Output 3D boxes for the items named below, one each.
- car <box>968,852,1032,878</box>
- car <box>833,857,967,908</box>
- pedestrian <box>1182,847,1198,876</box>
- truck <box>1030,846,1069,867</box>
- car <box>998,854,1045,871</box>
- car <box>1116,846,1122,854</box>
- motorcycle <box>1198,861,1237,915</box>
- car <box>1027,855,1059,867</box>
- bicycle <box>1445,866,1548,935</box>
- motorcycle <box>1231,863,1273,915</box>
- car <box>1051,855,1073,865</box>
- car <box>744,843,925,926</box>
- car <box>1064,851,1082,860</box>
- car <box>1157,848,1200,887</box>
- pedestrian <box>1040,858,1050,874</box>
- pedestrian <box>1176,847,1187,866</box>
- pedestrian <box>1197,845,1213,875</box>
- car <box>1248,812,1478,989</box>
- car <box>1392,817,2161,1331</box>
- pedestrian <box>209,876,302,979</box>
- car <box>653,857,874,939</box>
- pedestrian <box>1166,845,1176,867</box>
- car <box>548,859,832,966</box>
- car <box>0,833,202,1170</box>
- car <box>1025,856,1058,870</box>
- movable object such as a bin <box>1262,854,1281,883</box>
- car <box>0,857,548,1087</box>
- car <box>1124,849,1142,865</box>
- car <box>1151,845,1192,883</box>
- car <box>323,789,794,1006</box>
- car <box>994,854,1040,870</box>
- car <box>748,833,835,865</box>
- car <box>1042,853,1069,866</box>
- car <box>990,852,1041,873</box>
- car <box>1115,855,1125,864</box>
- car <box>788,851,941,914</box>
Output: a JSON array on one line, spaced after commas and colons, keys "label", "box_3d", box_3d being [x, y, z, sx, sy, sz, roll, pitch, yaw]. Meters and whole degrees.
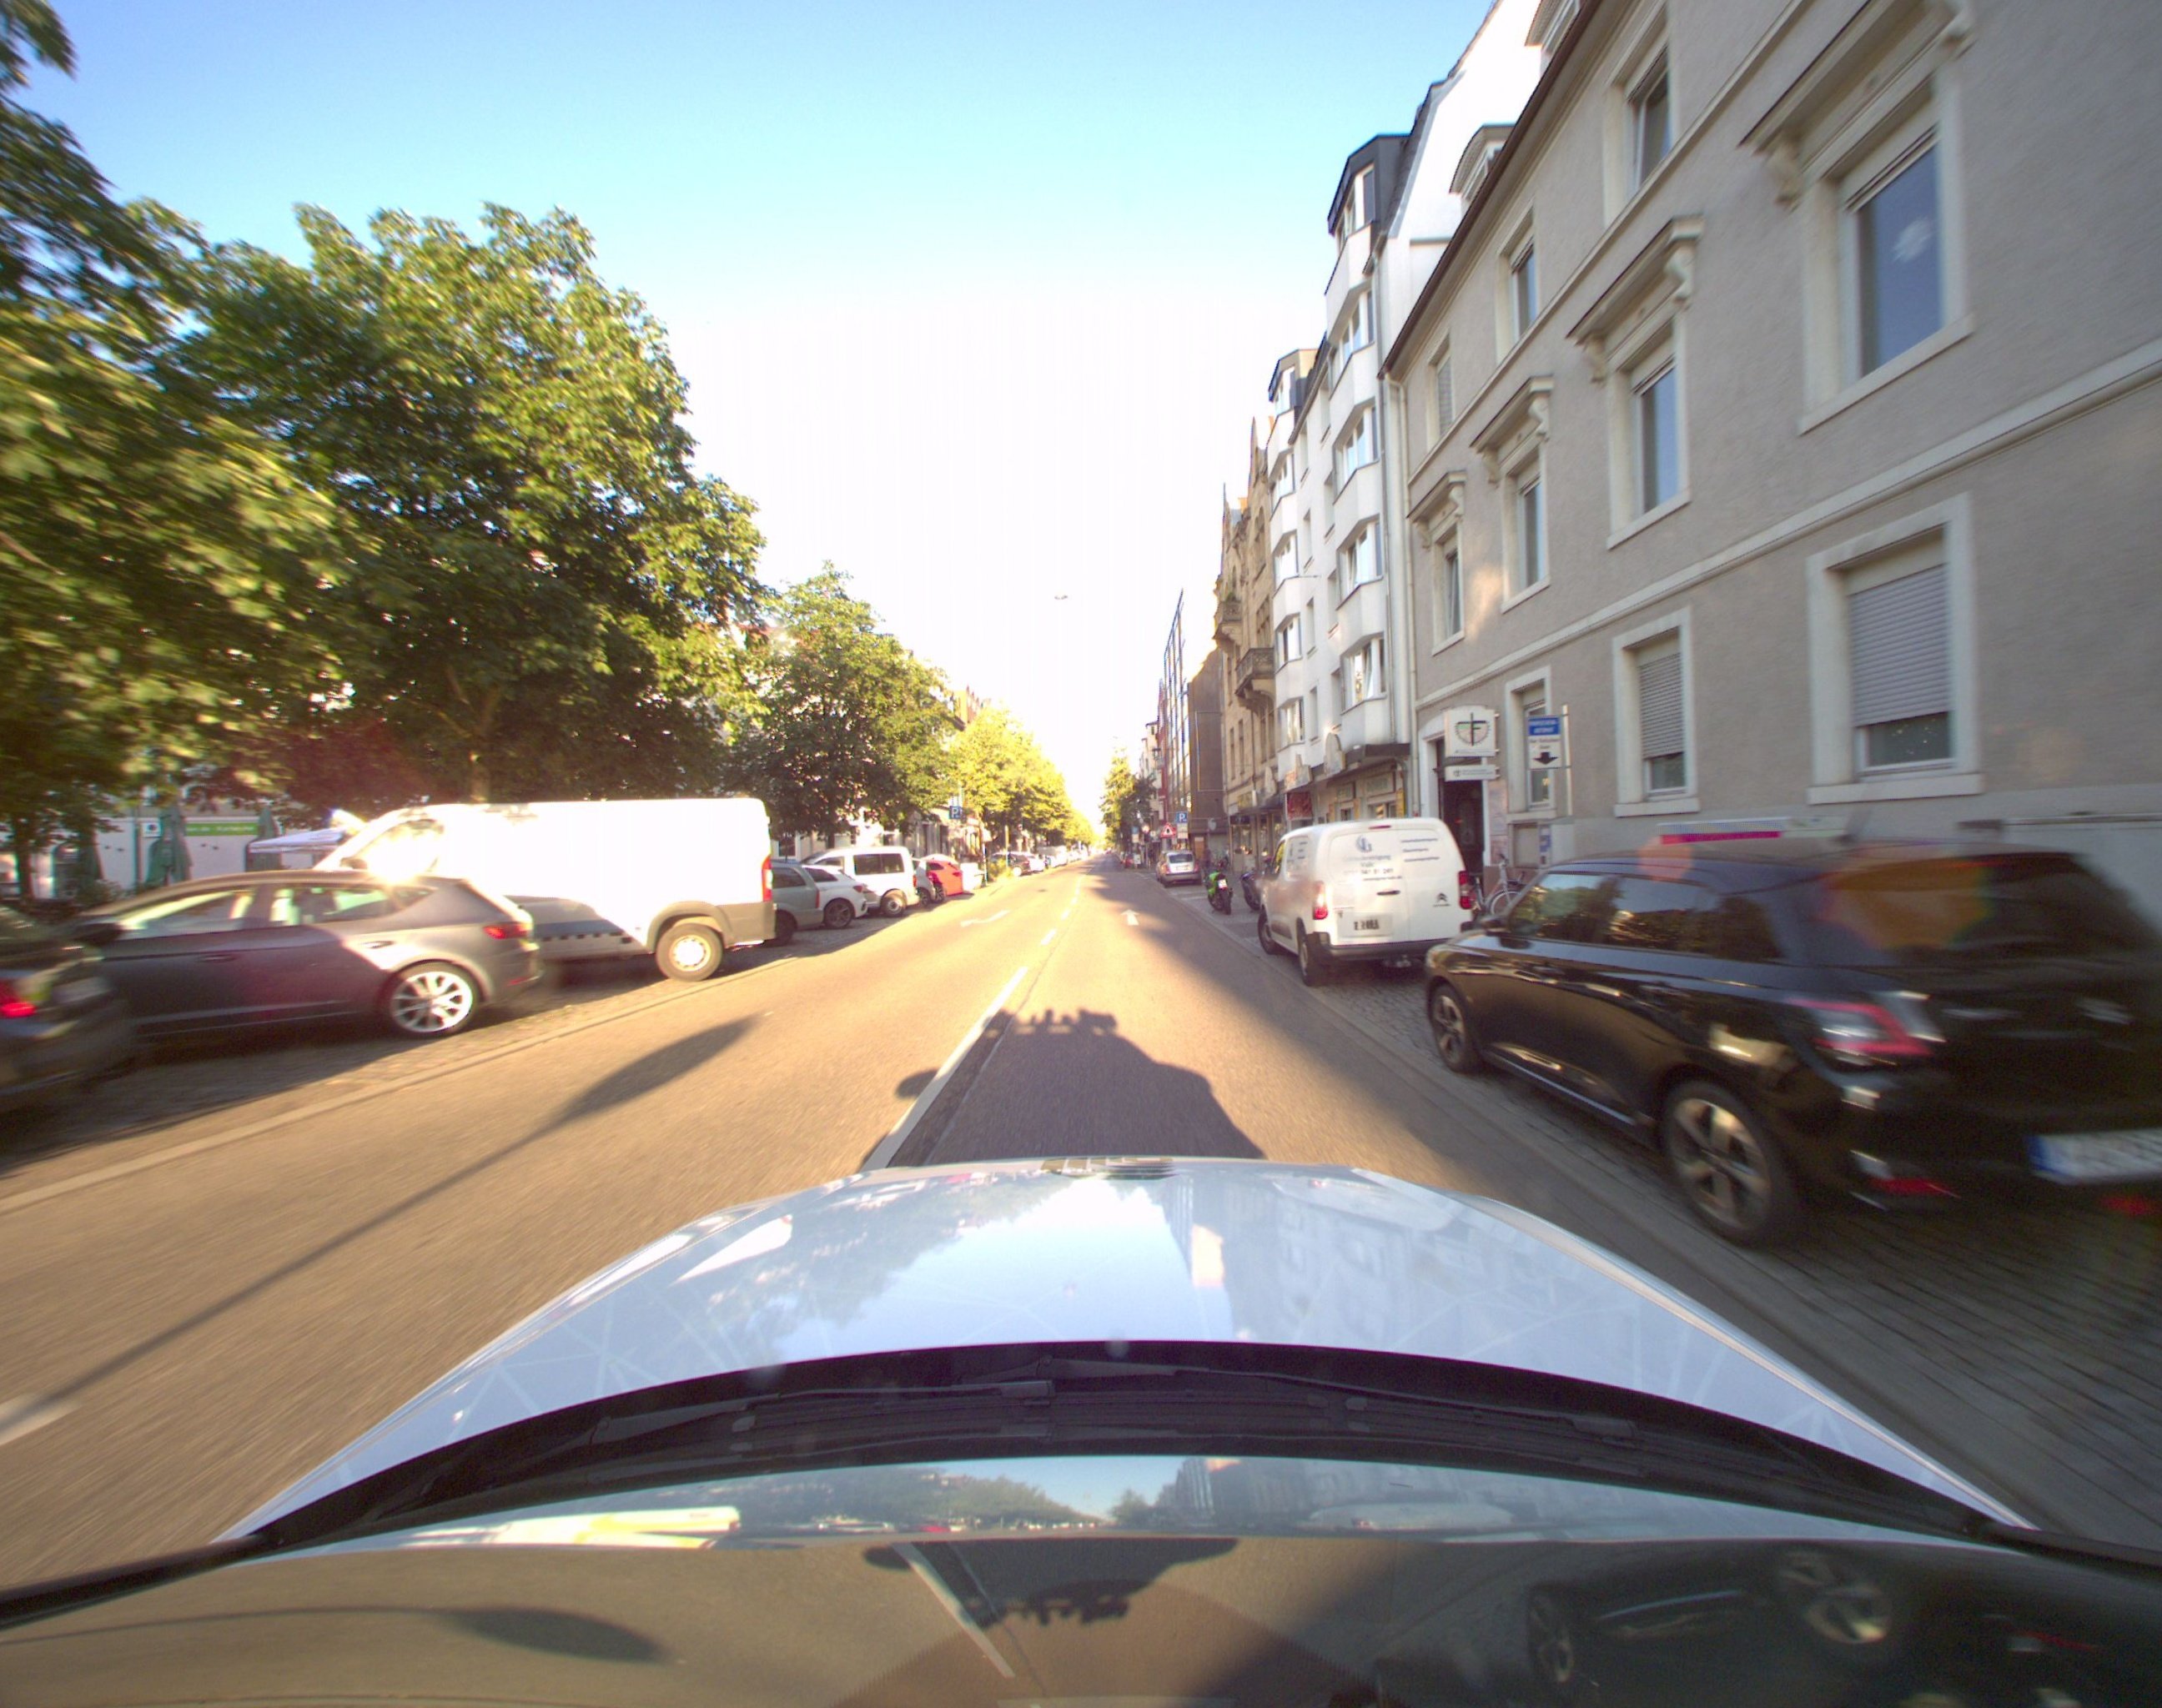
[{"label": "car", "box_3d": [-5.964, 0.796, 60.333, 4.433, 1.835, 2.034, -1, 1, 1]}, {"label": "car", "box_3d": [-6.105, 0.913, 27.492, 4.010, 1.486, 1.982, -2, 0, -28]}, {"label": "pedestrian", "box_3d": [6.442, 0.432, 48.126, 0.752, 1.640, 1.259, -1, 0, 1]}, {"label": "truck", "box_3d": [-4.080, 0.316, 106.674, 4.923, 2.615, 2.000, -1, 0, 1]}, {"label": "car", "box_3d": [-5.472, 0.796, 75.348, 4.160, 1.507, 2.000, -1, 0, 1]}, {"label": "car", "box_3d": [8.643, -0.911, 186.524, 1.305, 1.600, 2.659, -1, -1, -1]}, {"label": "motorcycle", "box_3d": [3.366, 0.800, 20.227, 0.586, 1.200, 2.211, -3, 0, 1]}, {"label": "car", "box_3d": [-4.641, 0.887, 100.374, 3.726, 1.449, 2.000, -1, 0, 1]}, {"label": "bicycle", "box_3d": [6.547, 0.708, 12.917, 0.455, 1.012, 1.705, -1, -1, -12]}, {"label": "motorcycle", "box_3d": [4.084, 0.801, 19.603, 0.586, 1.123, 2.211, -1, 0, 1]}, {"label": "car", "box_3d": [-3.236, 0.991, 139.563, 3.726, 1.493, 2.000, -2, 0, 1]}, {"label": "car", "box_3d": [-6.211, 0.681, 20.674, 4.016, 1.878, 1.851, -1, 0, -34]}, {"label": "car", "box_3d": [-1.628, 0.316, 173.335, 3.726, 1.708, 2.001, -1, 0, 1]}, {"label": "car", "box_3d": [4.366, 0.581, 36.942, 1.673, 1.561, 4.005, -3, 0, 4]}, {"label": "pedestrian", "box_3d": [-3.799, 1.232, 84.957, 0.727, 1.683, 0.749, 0, 0, -38]}, {"label": "pedestrian", "box_3d": [8.837, 0.208, 71.717, 0.763, 1.689, 0.786, -2, 0, -1]}, {"label": "pedestrian", "box_3d": [7.318, 0.342, 48.122, 0.752, 1.767, 1.222, -1, 0, 1]}, {"label": "car", "box_3d": [3.391, 0.470, 10.687, 1.703, 1.835, 4.309, -1, 0, 3]}, {"label": "car", "box_3d": [3.210, 0.644, 4.396, 1.661, 1.544, 3.884, -1, 0, 2]}, {"label": "pedestrian", "box_3d": [-10.935, 0.947, 10.816, 0.752, 1.277, 0.654, -1, 0, -36]}, {"label": "car", "box_3d": [-6.639, 0.840, 17.198, 4.018, 1.492, 1.829, -1, 0, -37]}, {"label": "pedestrian", "box_3d": [7.907, 0.186, 71.714, 0.712, 1.865, 0.679, -1, 0, -1]}, {"label": "car", "box_3d": [-6.574, 0.870, 13.892, 4.021, 1.468, 1.861, -1, 1, -40]}, {"label": "car", "box_3d": [-7.016, 0.713, 3.612, 3.899, 1.582, 1.784, -1, 0, -33]}, {"label": "car", "box_3d": [-4.609, 1.007, 95.371, 3.726, 1.596, 2.000, -1, 0, 1]}, {"label": "movable object such as a bin", "box_3d": [7.288, 0.549, 31.133, 0.593, 1.084, 0.664, -1, 0, 3]}, {"label": "car", "box_3d": [-6.992, 0.812, 6.883, 4.019, 1.486, 1.812, -1, 0, -38]}, {"label": "car", "box_3d": [5.331, 0.339, 83.939, 1.572, 1.542, 3.395, -4, -1, -1]}, {"label": "car", "box_3d": [4.591, 0.471, 41.686, 1.690, 1.769, 4.001, -2, 0, 1]}, {"label": "car", "box_3d": [-6.231, 0.430, 10.443, 4.621, 2.251, 2.185, -1, 0, -25]}, {"label": "car", "box_3d": [-6.514, 0.782, 83.150, 4.410, 1.599, 2.000, -1, 0, 1]}, {"label": "car", "box_3d": [-16.354, -0.295, 46.009, 4.439, 1.677, 1.944, -2, 1, -25]}, {"label": "car", "box_3d": [-3.655, 0.751, 117.402, 3.726, 1.858, 2.001, -1, 0, 1]}, {"label": "car", "box_3d": [-5.419, 0.699, 67.387, 3.975, 1.708, 1.833, -1, 0, 1]}, {"label": "car", "box_3d": [5.564, 0.767, 115.819, 1.203, 1.300, 2.659, -1, -1, -1]}, {"label": "car", "box_3d": [-6.356, 0.773, 24.065, 4.016, 1.696, 1.731, 0, 0, -34]}]
